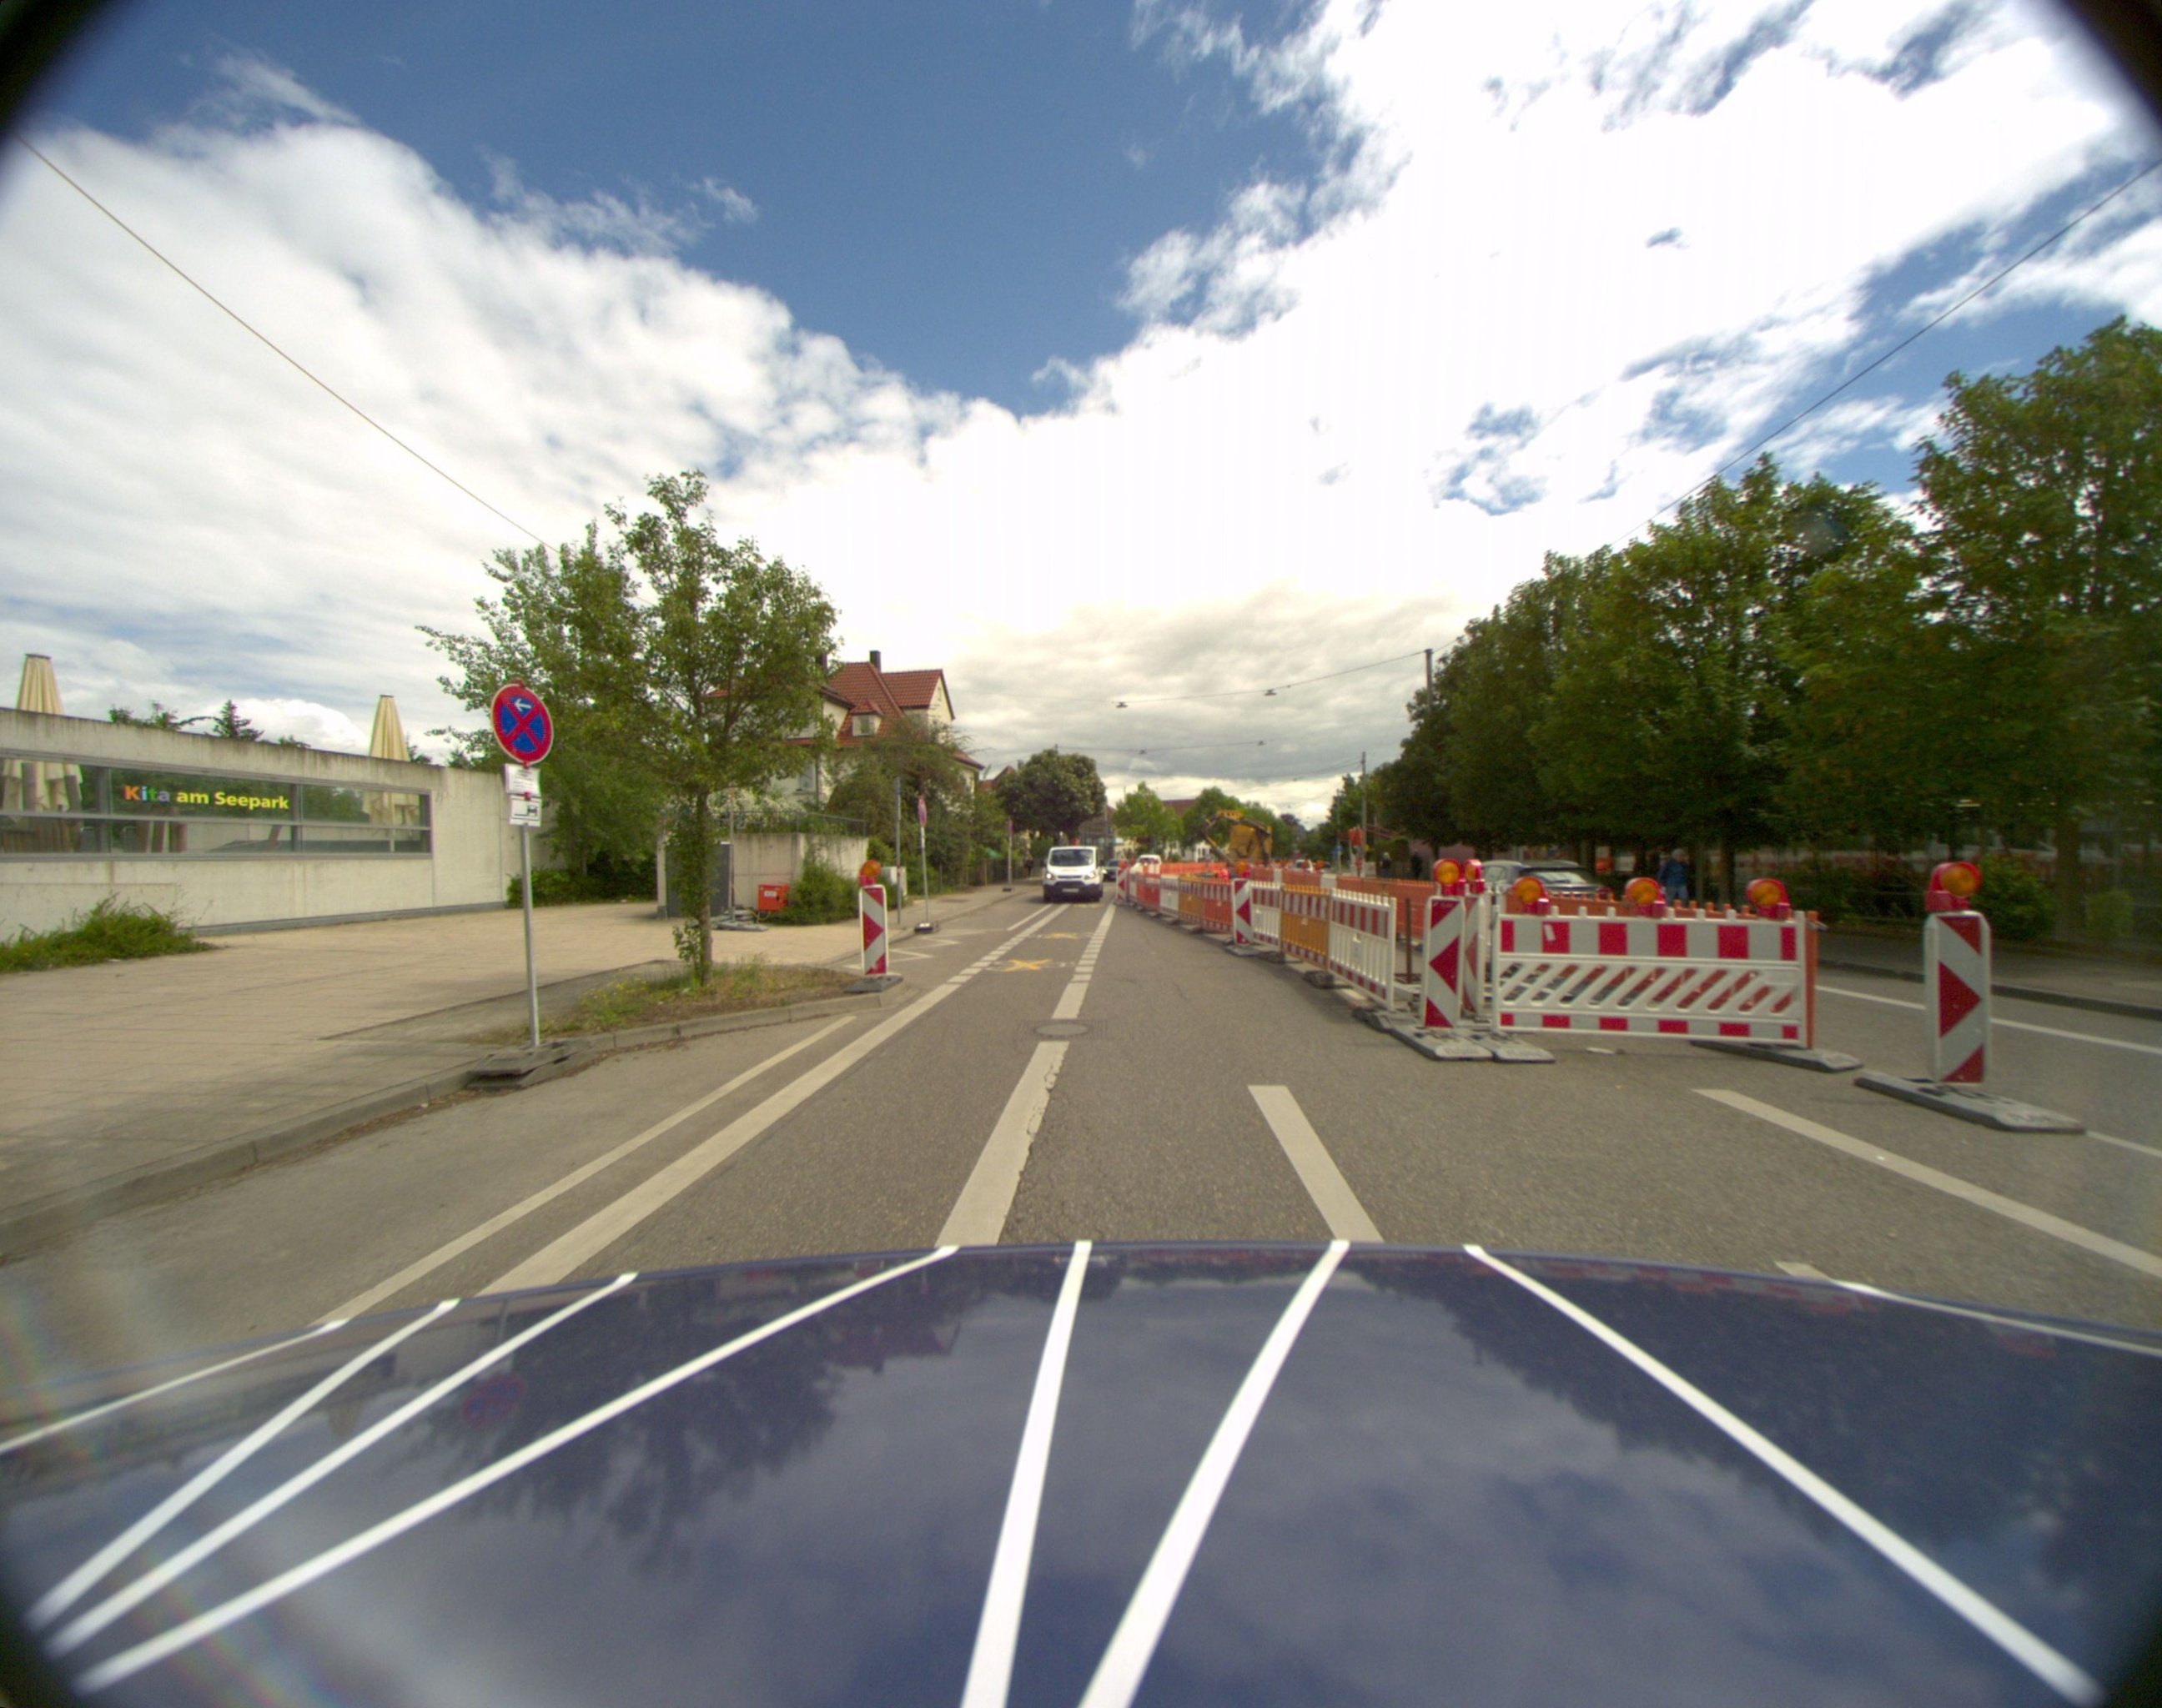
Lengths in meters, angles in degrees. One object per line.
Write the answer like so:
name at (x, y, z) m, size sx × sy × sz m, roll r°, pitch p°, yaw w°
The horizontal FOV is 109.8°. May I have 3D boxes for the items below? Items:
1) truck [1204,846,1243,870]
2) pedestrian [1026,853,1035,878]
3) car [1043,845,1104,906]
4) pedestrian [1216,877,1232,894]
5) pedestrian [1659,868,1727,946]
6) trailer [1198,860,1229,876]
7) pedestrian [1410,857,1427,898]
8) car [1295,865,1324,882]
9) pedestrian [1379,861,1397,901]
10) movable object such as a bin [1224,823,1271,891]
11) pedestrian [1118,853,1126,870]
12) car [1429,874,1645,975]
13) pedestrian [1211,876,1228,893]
truck at (21.662, 0.695, 115.952) m, size 2.346 × 3.178 × 6.623 m, roll 1°, pitch -4°, yaw -24°
pedestrian at (-3.184, 0.726, 48.185) m, size 0.522 × 1.530 × 0.636 m, roll 1°, pitch 0°, yaw -6°
car at (-0.326, 0.730, 28.166) m, size 1.999 × 2.002 × 5.512 m, roll -1°, pitch 0°, yaw -1°
pedestrian at (8.659, 1.876, 45.893) m, size 0.641 × 0.985 × 0.795 m, roll 0°, pitch 0°, yaw 39°
pedestrian at (12.812, 1.084, 15.919) m, size 0.754 × 1.593 × 0.830 m, roll 0°, pitch 0°, yaw -2°
trailer at (19.006, 2.007, 108.831) m, size 2.594 × 2.231 × 5.685 m, roll -3°, pitch -2°, yaw 28°
pedestrian at (15.389, 1.058, 34.660) m, size 0.625 × 1.836 × 0.624 m, roll 0°, pitch 0°, yaw 29°
car at (20.884, 1.738, 69.416) m, size 1.856 × 1.444 × 4.007 m, roll -1°, pitch 0°, yaw 27°
pedestrian at (14.281, 1.256, 35.390) m, size 0.695 × 1.836 × 0.624 m, roll 0°, pitch 0°, yaw 29°
movable object such as a bin at (11.695, 0.204, 52.616) m, size 2.594 × 4.196 × 11.135 m, roll 1°, pitch 0°, yaw 15°
pedestrian at (3.927, 0.680, 72.680) m, size 0.598 × 1.573 × 0.402 m, roll -6°, pitch 0°, yaw 19°
car at (8.181, 1.172, 14.123) m, size 1.858 × 1.504 × 4.002 m, roll 0°, pitch 0°, yaw 5°
pedestrian at (8.617, 1.883, 47.140) m, size 0.791 × 0.985 × 0.813 m, roll 0°, pitch 0°, yaw 29°
